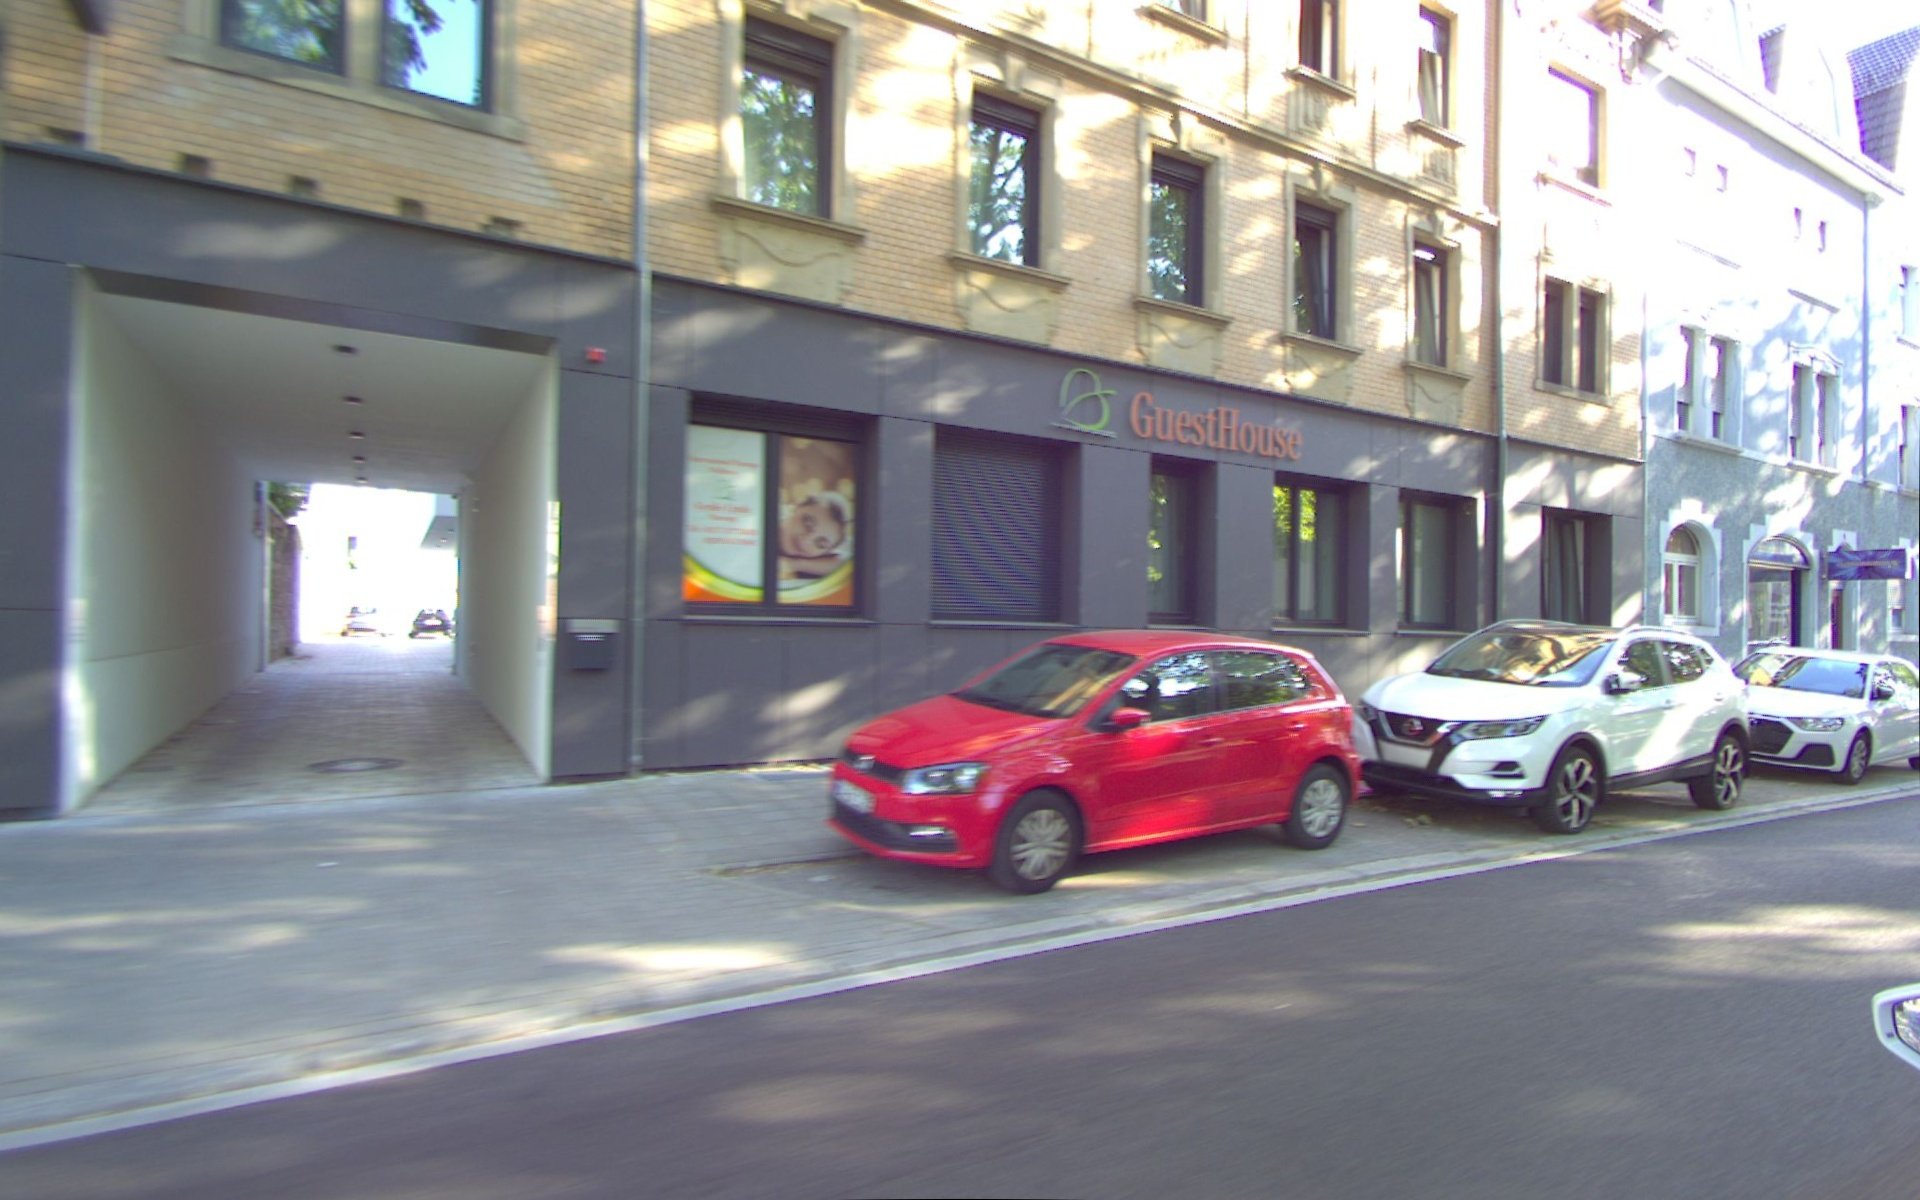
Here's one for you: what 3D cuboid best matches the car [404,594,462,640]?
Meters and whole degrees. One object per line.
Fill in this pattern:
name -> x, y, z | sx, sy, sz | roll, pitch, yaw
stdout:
car -> -23.983, 0.800, 45.655 | 1.978, 1.995, 3.965 | 2, -2, -33

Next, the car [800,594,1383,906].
car -> 0.966, 0.826, 6.909 | 3.712, 1.613, 1.670 | 2, 0, -30

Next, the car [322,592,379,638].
car -> -26.578, 0.668, 43.761 | 1.978, 1.873, 3.965 | 2, -2, -33

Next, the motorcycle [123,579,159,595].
motorcycle -> -68.227, -1.077, 83.720 | 2.239, 1.257, 0.544 | 2, -4, -32

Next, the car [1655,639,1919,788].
car -> 10.498, 1.291, 12.412 | 3.826, 1.516, 1.670 | 2, 0, -30

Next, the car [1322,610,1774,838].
car -> 5.352, 0.954, 9.023 | 4.151, 1.606, 1.669 | 2, 0, -30

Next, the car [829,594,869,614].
car -> -12.385, 0.473, 111.990 | 3.962, 2.040, 1.980 | 4, -2, -36

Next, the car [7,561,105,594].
car -> -54.635, -1.349, 60.808 | 4.137, 1.756, 1.864 | 2, -2, -34
